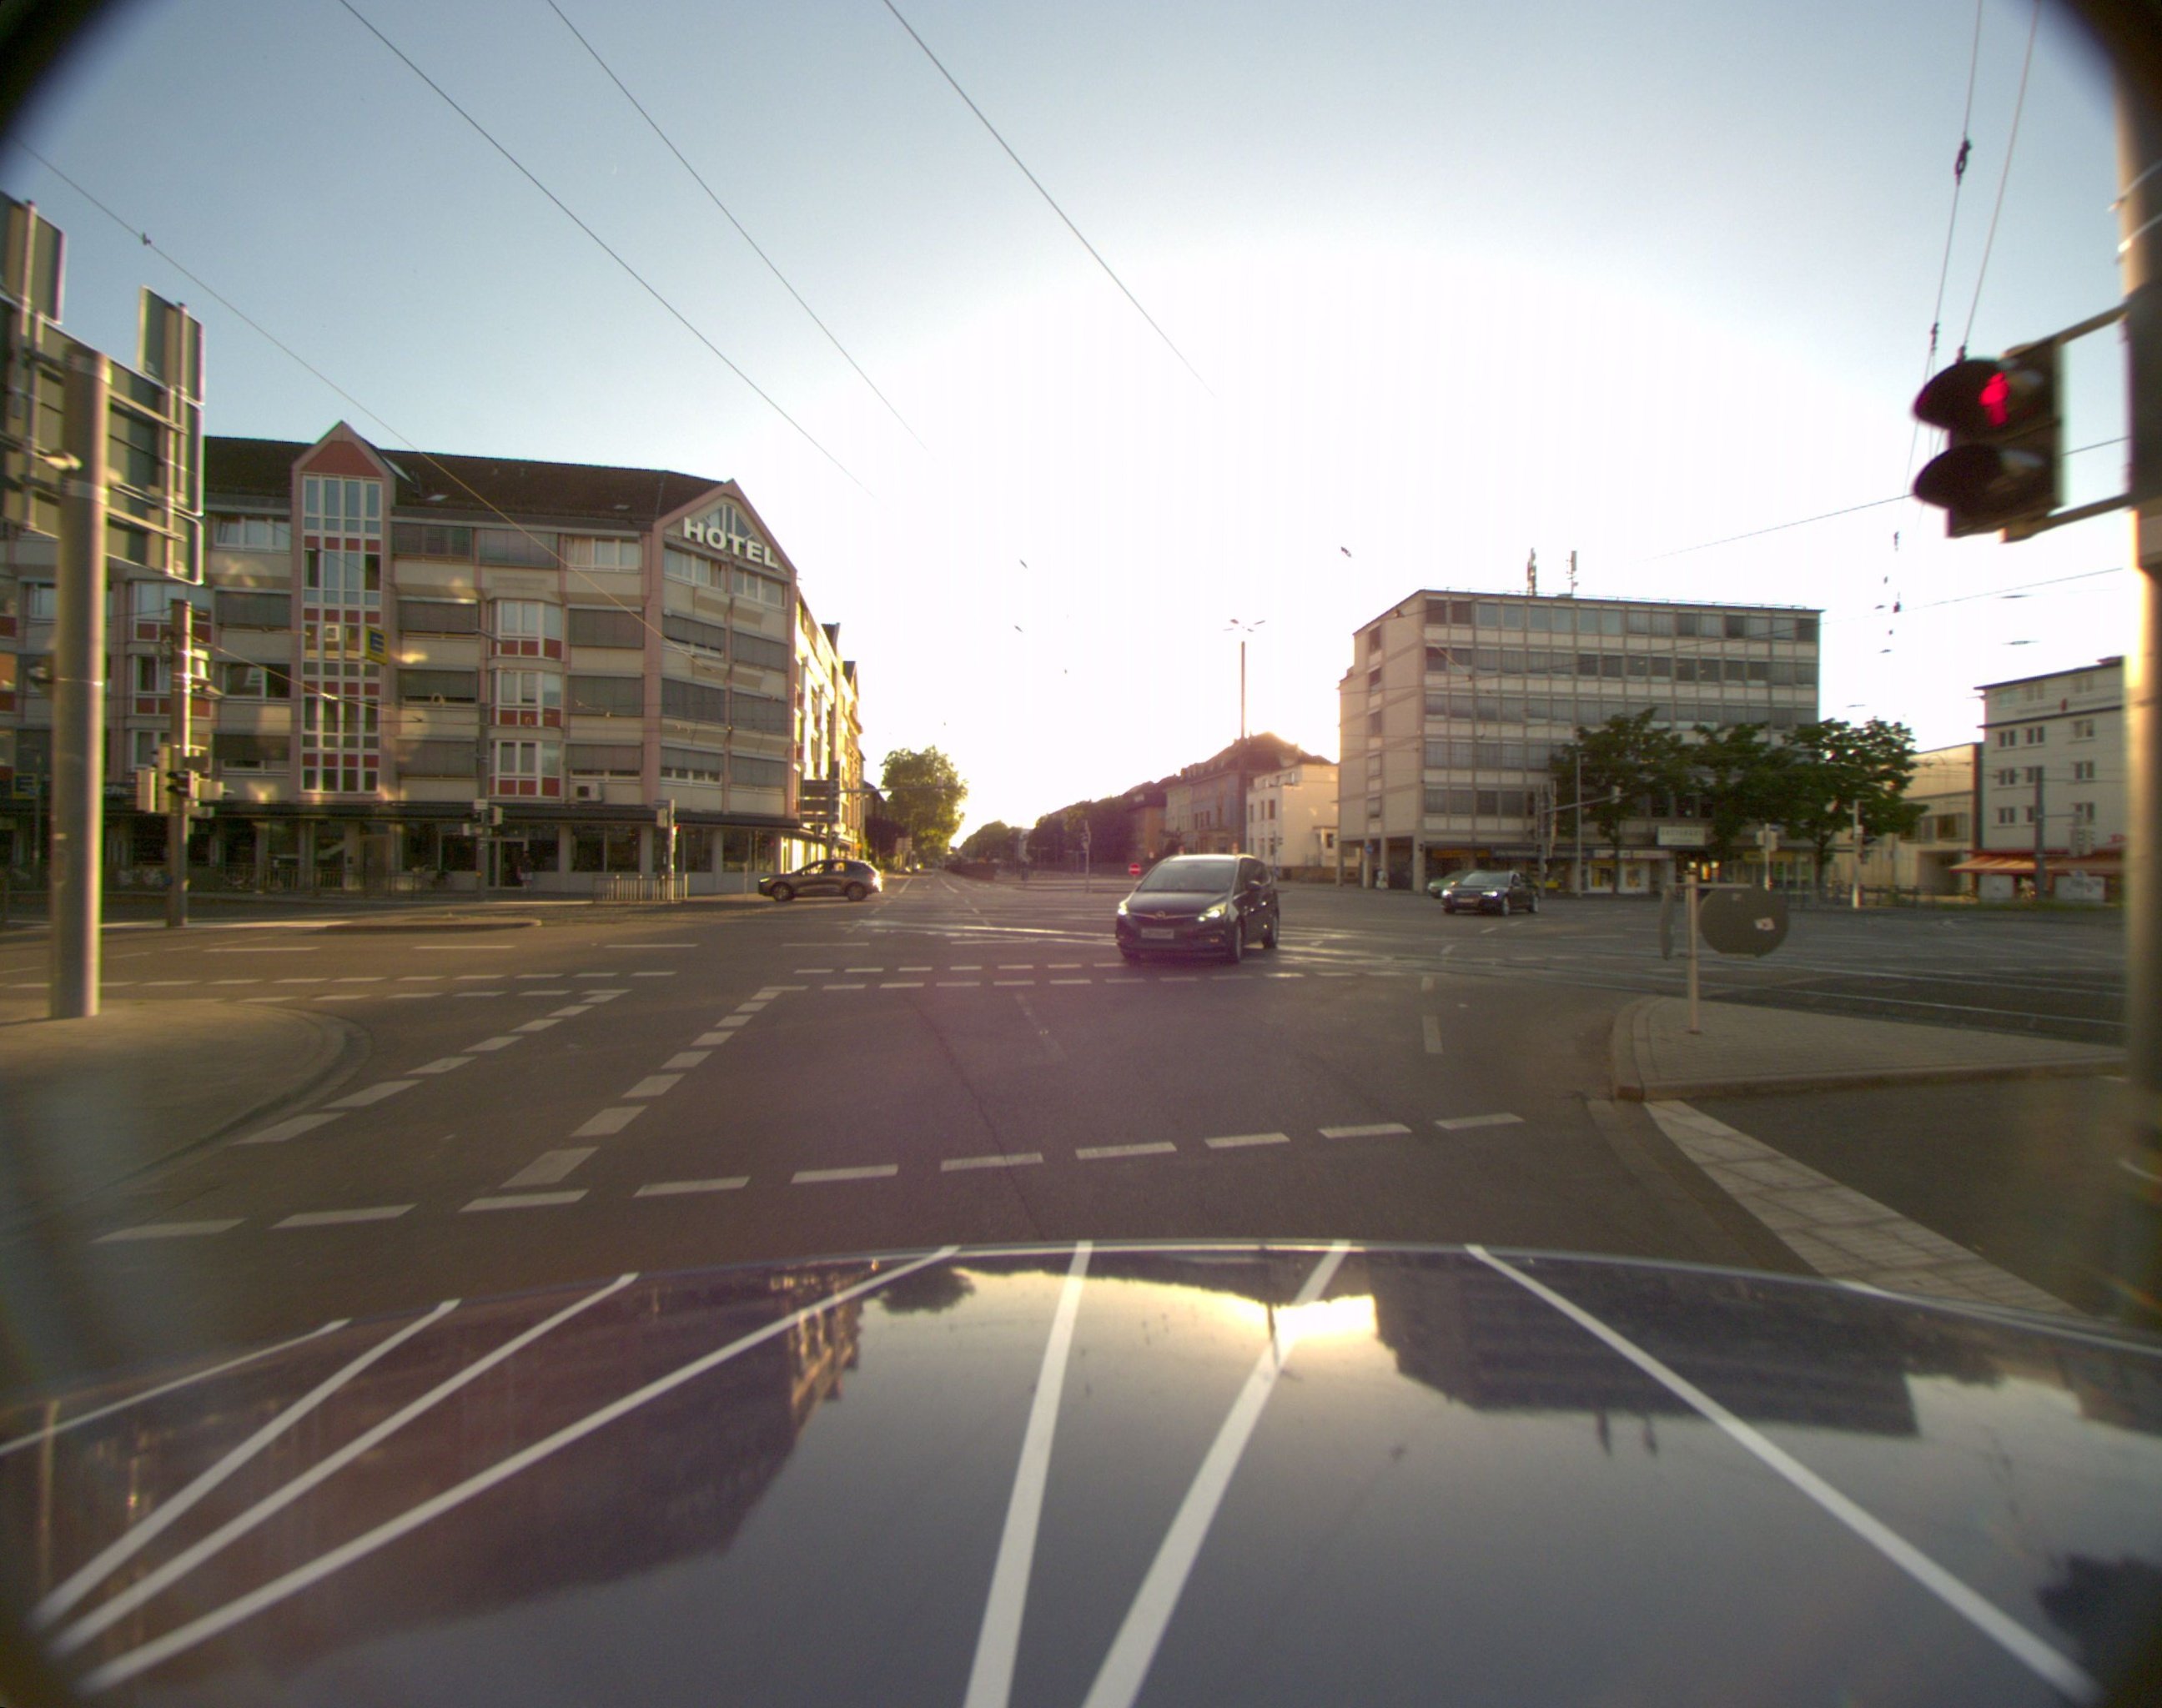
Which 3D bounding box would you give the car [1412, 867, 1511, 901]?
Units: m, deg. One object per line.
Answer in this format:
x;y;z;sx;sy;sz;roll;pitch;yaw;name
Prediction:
18.271;1.420;36.559;4.025;1.556;1.747;1;0;-11;car

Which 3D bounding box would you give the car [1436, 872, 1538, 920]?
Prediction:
13.235;1.292;24.655;1.847;1.399;4.234;0;-1;44;car

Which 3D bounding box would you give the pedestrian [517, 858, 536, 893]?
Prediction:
-23.758;0.926;32.537;0.471;1.484;0.478;0;0;26;pedestrian

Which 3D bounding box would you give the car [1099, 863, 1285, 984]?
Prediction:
2.019;0.961;12.480;1.797;1.609;4.395;0;-1;26;car

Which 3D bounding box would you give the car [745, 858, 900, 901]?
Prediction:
-10.034;0.989;29.955;5.580;1.618;2.029;1;0;-13;car
